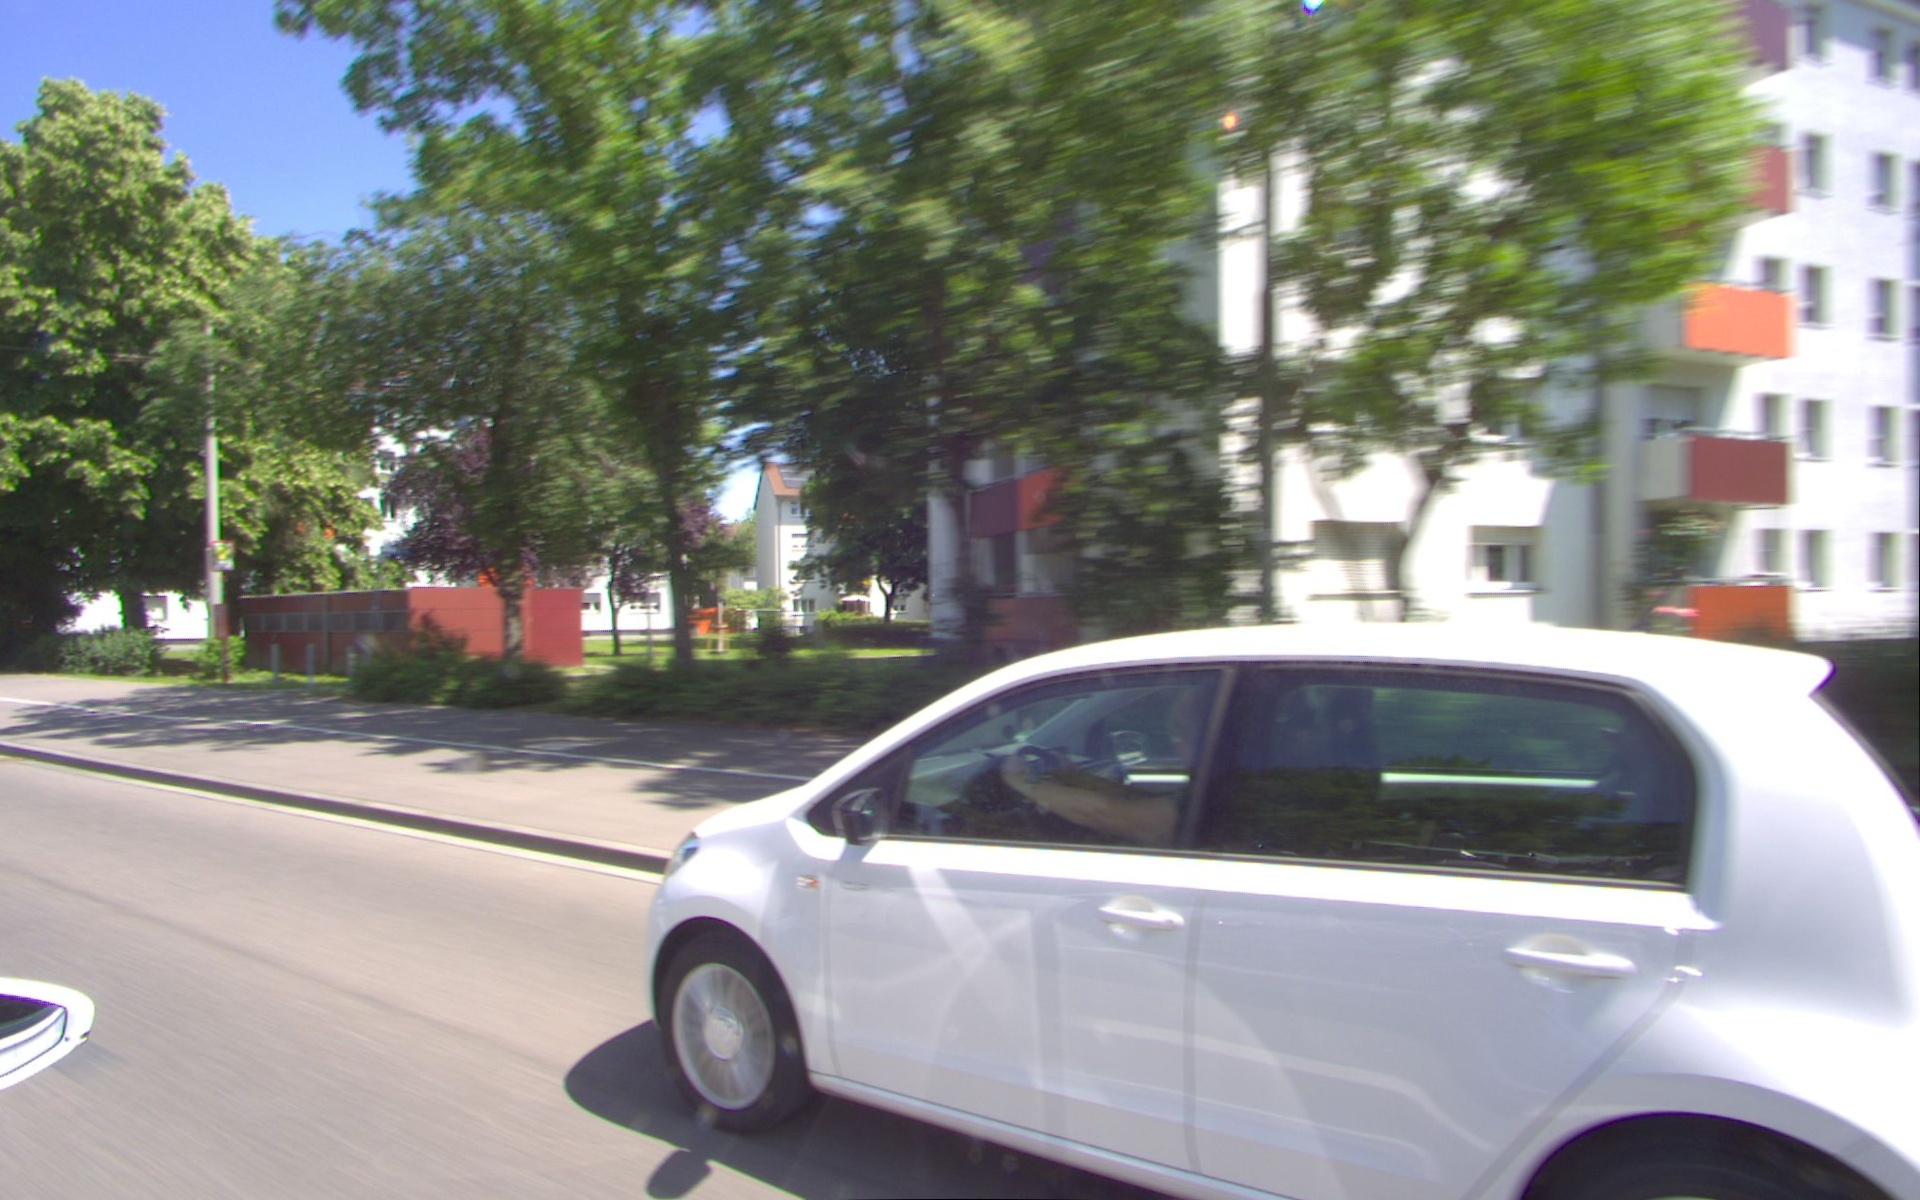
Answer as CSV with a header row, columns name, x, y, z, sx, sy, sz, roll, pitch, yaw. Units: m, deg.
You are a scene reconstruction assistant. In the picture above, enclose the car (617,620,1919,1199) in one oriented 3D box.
name,x,y,z,sx,sy,sz,roll,pitch,yaw
car,0.977,0.808,2.799,3.799,1.468,1.656,-1,-2,32
